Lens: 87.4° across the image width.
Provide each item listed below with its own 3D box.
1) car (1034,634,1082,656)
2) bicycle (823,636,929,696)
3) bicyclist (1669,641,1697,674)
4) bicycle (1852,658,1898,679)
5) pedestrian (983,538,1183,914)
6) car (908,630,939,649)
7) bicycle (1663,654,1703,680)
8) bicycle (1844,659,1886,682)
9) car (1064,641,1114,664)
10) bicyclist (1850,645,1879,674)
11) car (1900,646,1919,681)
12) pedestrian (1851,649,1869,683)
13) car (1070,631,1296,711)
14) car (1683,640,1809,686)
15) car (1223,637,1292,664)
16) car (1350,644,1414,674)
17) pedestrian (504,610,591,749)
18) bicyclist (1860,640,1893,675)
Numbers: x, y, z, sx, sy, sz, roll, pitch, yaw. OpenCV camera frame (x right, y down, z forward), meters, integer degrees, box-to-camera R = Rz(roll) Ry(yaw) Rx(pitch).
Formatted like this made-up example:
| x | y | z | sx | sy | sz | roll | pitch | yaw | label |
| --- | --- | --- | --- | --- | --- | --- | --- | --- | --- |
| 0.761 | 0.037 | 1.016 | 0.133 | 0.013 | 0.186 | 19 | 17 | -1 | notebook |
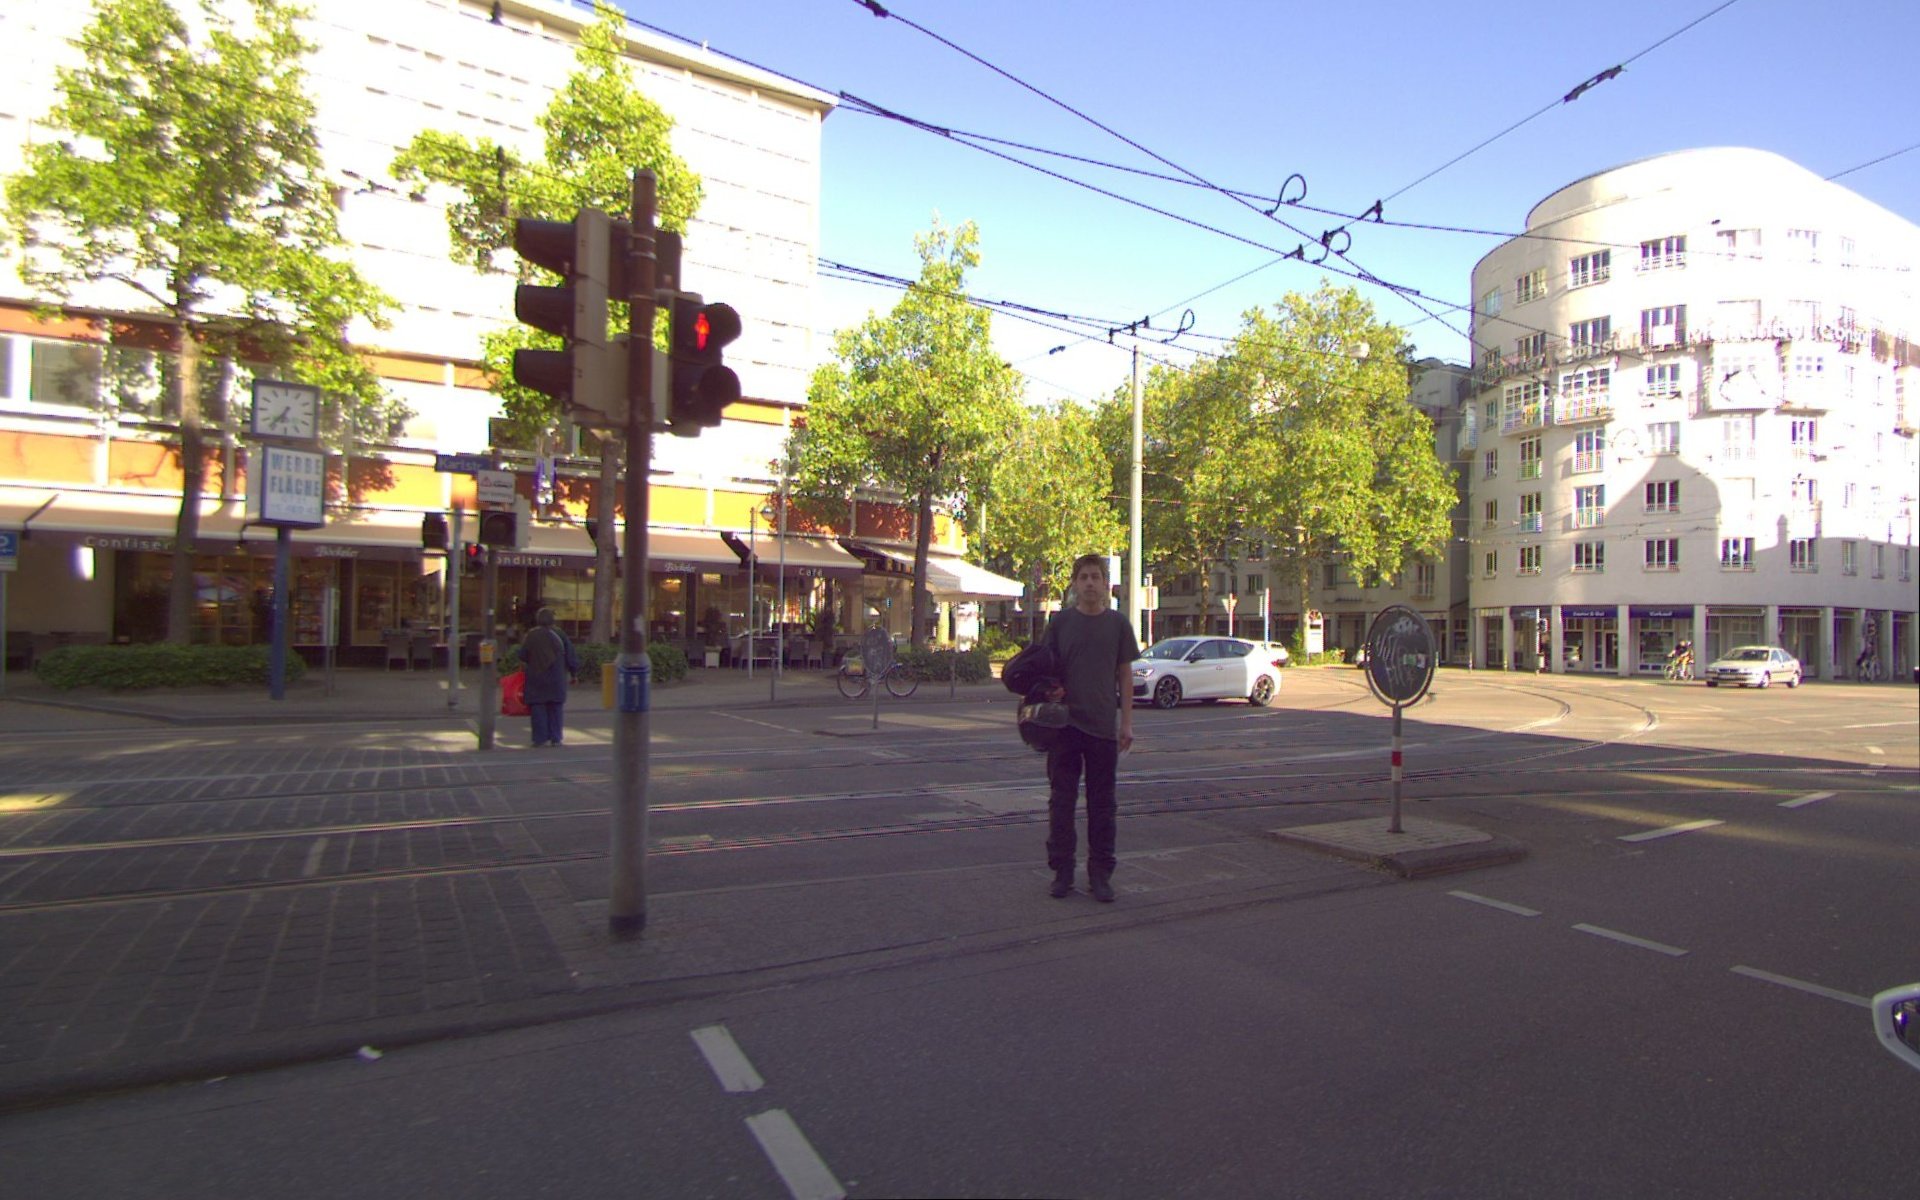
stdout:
| x | y | z | sx | sy | sz | roll | pitch | yaw | label |
| --- | --- | --- | --- | --- | --- | --- | --- | --- | --- |
| 8.639 | 4.011 | 88.893 | 3.955 | 1.906 | 1.808 | 2 | -2 | -31 | car |
| -1.735 | 1.371 | 21.026 | 2.209 | 1.202 | 0.495 | 2 | -2 | -31 | bicycle |
| 29.203 | 2.306 | 40.556 | 0.915 | 1.302 | 0.586 | 3 | -2 | -28 | bicyclist |
| 45.894 | 3.436 | 50.398 | 1.727 | 0.993 | 0.678 | 1 | -1 | -1 | bicycle |
| 0.636 | 0.621 | 5.267 | 0.884 | 1.786 | 0.555 | 2 | -3 | -29 | pedestrian |
| -4.171 | 4.490 | 113.889 | 1.975 | 2.040 | 3.973 | 3 | -3 | -27 | car |
| 29.163 | 2.704 | 40.513 | 1.795 | 0.985 | 0.591 | 3 | -3 | -29 | bicycle |
| 41.136 | 3.199 | 45.650 | 1.826 | 0.985 | 0.593 | 3 | -2 | -19 | bicycle |
| 10.918 | 4.443 | 85.099 | 3.955 | 1.906 | 1.808 | 2 | -2 | -31 | car |
| 41.131 | 2.714 | 45.669 | 0.977 | 1.302 | 0.588 | 3 | -2 | -20 | bicyclist |
| 46.919 | 3.092 | 47.992 | 3.955 | 1.617 | 1.983 | 3 | -3 | -31 | car |
| 43.151 | 3.164 | 48.159 | 0.434 | 1.554 | 0.683 | 0 | 0 | 24 | pedestrian |
| 4.651 | 1.413 | 20.796 | 4.450 | 1.470 | 1.984 | 2 | -2 | -31 | car |
| 27.573 | 2.185 | 35.197 | 4.596 | 1.470 | 1.984 | 2 | -2 | -31 | car |
| 17.711 | 2.999 | 60.011 | 1.779 | 1.421 | 3.983 | 0 | 0 | -25 | car |
| 23.360 | 3.253 | 55.575 | 4.072 | 1.421 | 1.781 | 0 | 0 | -43 | car |
| -4.737 | 0.900 | 11.538 | 0.848 | 1.537 | 0.498 | 2 | -3 | -29 | pedestrian |
| 46.054 | 2.889 | 50.484 | 1.009 | 1.718 | 0.724 | 1 | -1 | -1 | bicyclist |
